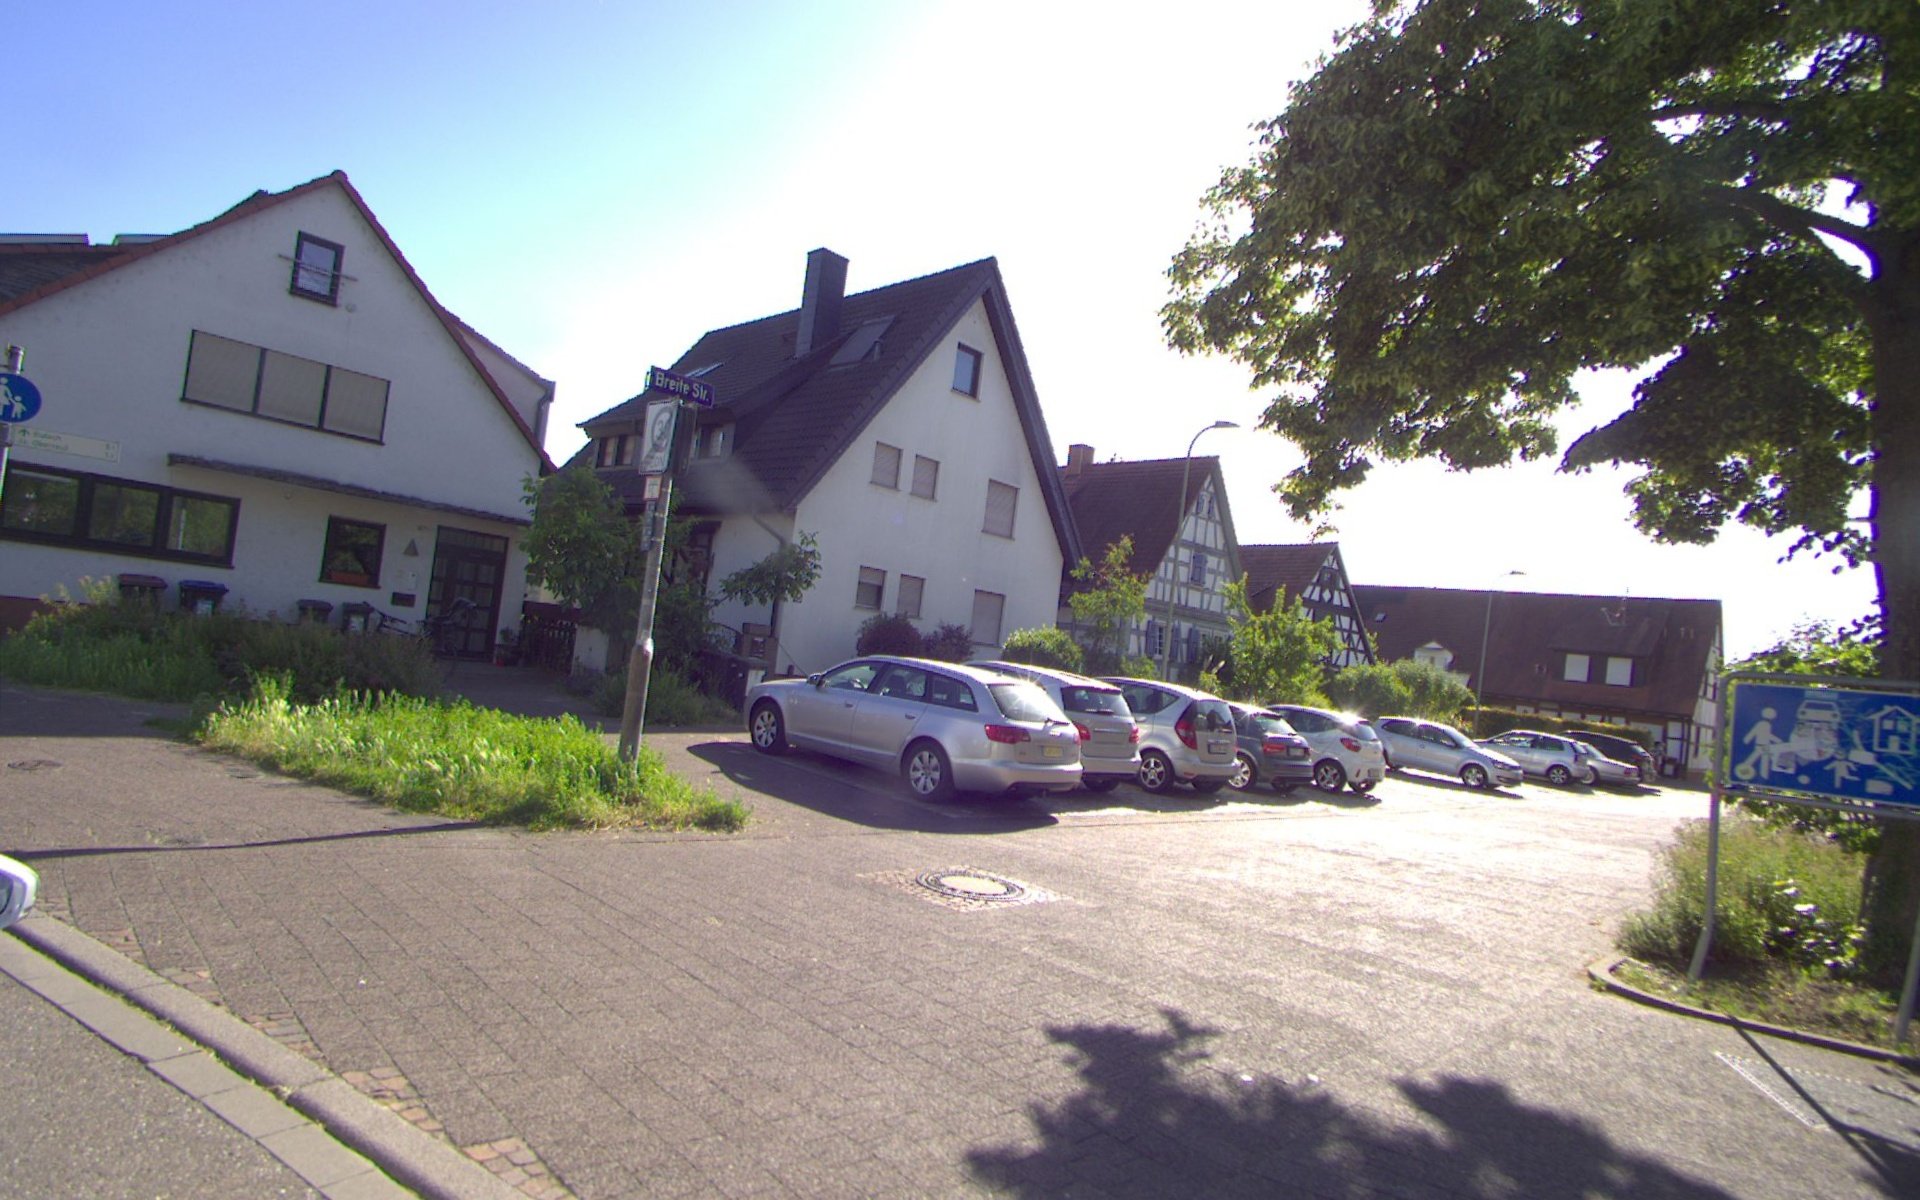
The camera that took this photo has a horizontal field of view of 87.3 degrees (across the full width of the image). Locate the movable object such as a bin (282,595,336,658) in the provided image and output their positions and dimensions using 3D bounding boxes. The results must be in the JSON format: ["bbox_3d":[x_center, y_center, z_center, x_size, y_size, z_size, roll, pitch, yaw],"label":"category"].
[{"bbox_3d":[-11.344,0.459,17.539,0.660,0.994,0.529,6,-2,41],"label":"movable object such as a bin"}]

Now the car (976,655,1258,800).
[{"bbox_3d":[2.409,1.997,16.429,1.702,1.569,4.355,10,-2,-40],"label":"car"}]

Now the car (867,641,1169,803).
[{"bbox_3d":[0.666,1.672,14.569,1.702,1.534,4.355,10,-3,-39],"label":"car"}]

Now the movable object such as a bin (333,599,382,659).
[{"bbox_3d":[-10.855,0.525,18.112,0.586,0.988,0.497,6,-2,41],"label":"movable object such as a bin"}]

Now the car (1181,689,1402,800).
[{"bbox_3d":[6.549,2.835,20.133,1.593,1.491,3.762,9,-2,-43],"label":"car"}]

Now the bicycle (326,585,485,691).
[{"bbox_3d":[-7.920,0.564,14.431,0.690,1.297,1.737,5,-4,40],"label":"bicycle"}]

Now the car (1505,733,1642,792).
[{"bbox_3d":[20.039,5.297,32.931,3.568,1.208,1.340,7,-2,41],"label":"car"}]

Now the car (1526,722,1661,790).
[{"bbox_3d":[21.915,5.348,34.896,3.653,1.645,1.408,7,0,41],"label":"car"}]

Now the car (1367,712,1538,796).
[{"bbox_3d":[12.610,3.903,25.894,3.570,1.437,1.453,7,-1,43],"label":"car"}]

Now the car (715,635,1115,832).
[{"bbox_3d":[-0.716,1.516,12.356,4.735,1.437,1.993,7,-3,42],"label":"car"}]

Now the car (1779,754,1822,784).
[{"bbox_3d":[65.377,13.162,78.244,2.184,1.863,4.782,5,-4,43],"label":"car"}]

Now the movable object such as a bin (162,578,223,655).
[{"bbox_3d":[-12.347,0.263,16.182,0.738,1.135,0.526,6,-2,41],"label":"movable object such as a bin"}]

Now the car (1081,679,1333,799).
[{"bbox_3d":[4.362,2.458,18.220,1.642,1.364,4.063,12,-3,-43],"label":"car"}]

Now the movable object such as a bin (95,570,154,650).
[{"bbox_3d":[-12.996,0.153,15.647,0.738,1.135,0.480,6,-2,41],"label":"movable object such as a bin"}]

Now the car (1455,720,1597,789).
[{"bbox_3d":[17.886,4.854,31.858,3.570,1.469,1.454,7,-2,43],"label":"car"}]
